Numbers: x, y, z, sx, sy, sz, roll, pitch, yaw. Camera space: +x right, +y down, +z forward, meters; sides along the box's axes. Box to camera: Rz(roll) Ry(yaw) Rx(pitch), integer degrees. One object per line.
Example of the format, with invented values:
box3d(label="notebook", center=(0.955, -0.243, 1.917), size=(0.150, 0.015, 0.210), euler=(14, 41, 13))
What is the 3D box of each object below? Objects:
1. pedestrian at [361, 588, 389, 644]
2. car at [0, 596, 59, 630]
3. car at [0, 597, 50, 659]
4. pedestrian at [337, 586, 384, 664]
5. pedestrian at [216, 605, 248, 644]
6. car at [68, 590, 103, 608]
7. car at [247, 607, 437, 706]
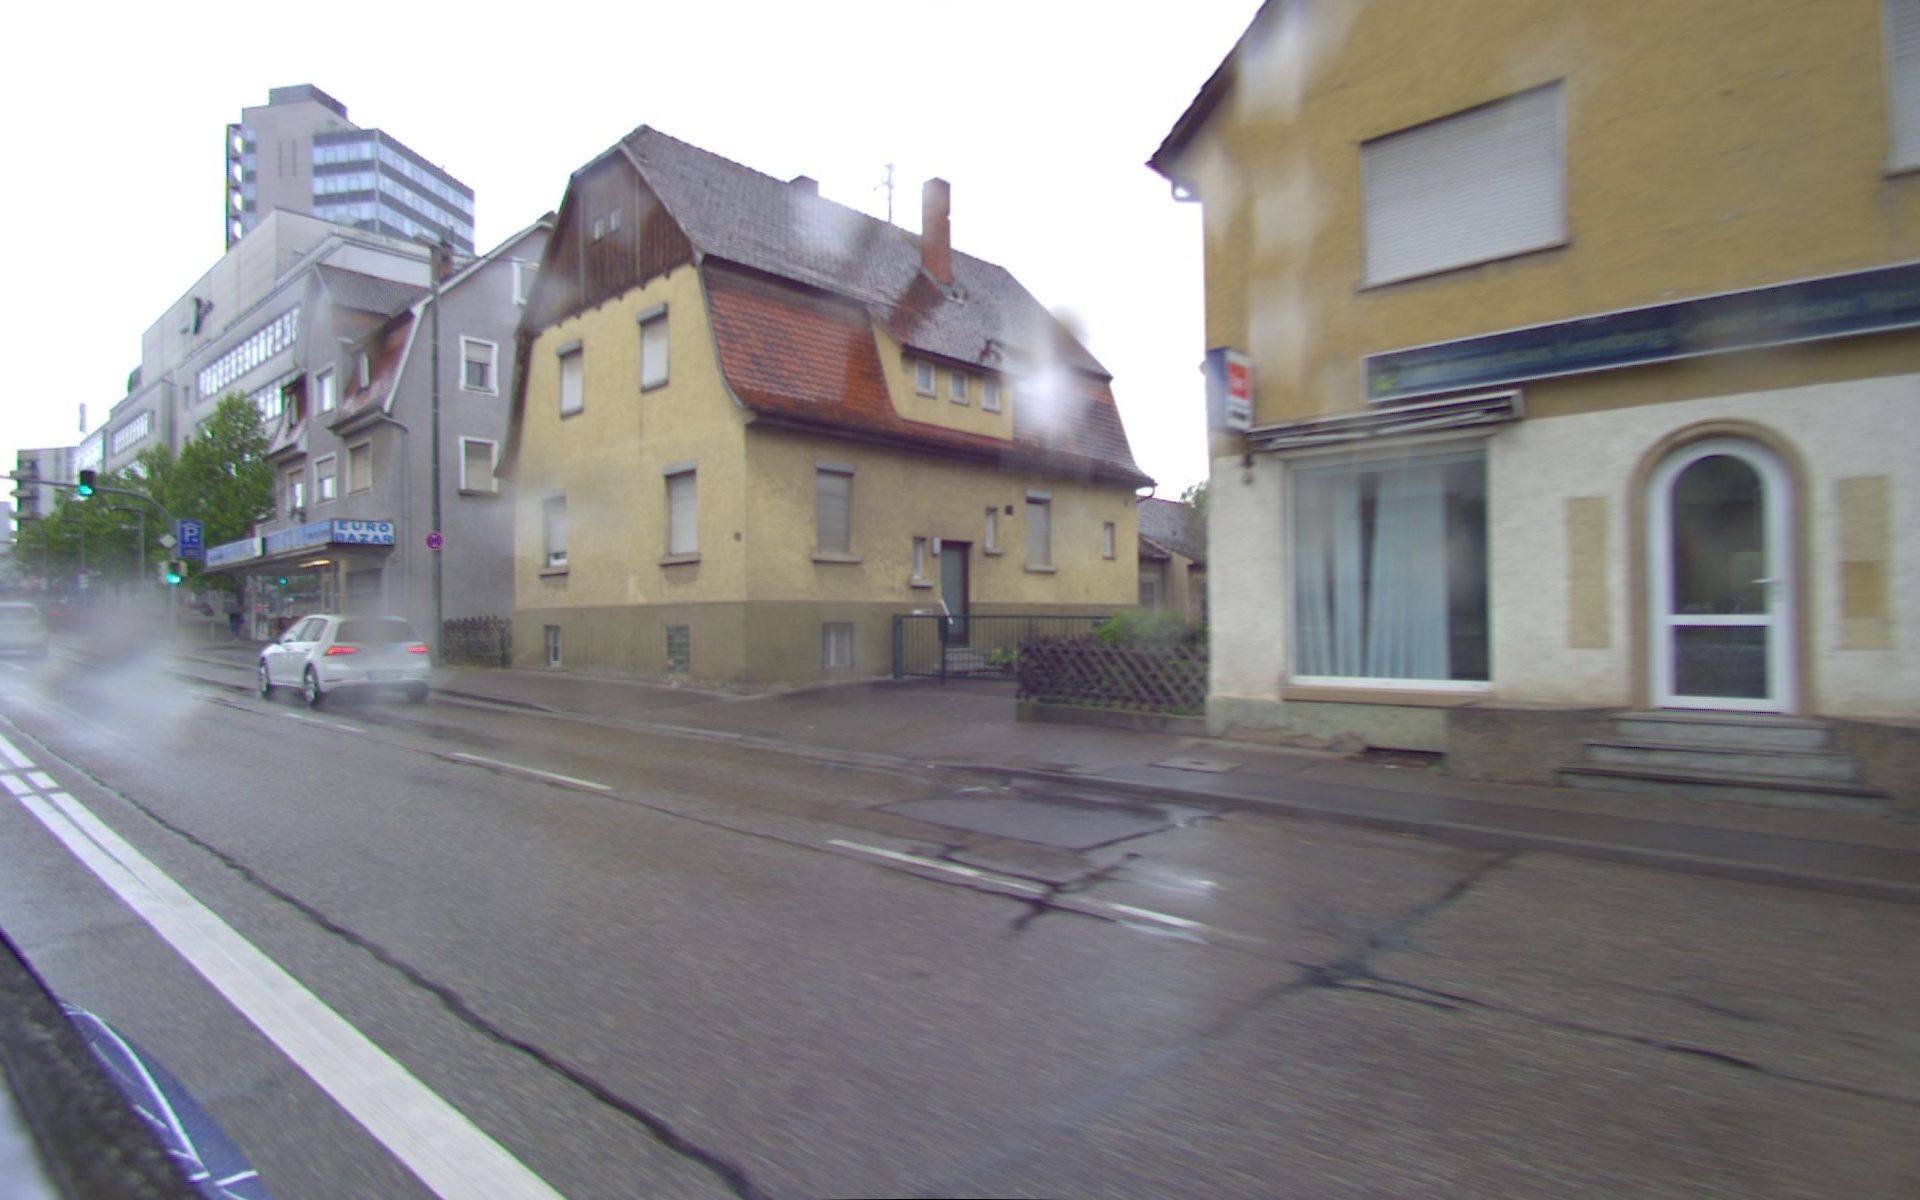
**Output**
box3d(label="pedestrian", center=(-16.447, 0.454, 28.467), size=(0.446, 1.569, 0.537), euler=(0, -1, 42))
box3d(label="car", center=(-47.281, 0.645, 51.377), size=(4.950, 1.630, 1.978), euler=(1, -1, 45))
box3d(label="car", center=(-27.570, 0.748, 28.833), size=(4.716, 1.621, 1.859), euler=(1, 0, 41))
box3d(label="pedestrian", center=(-15.223, 0.625, 25.694), size=(0.944, 1.935, 0.656), euler=(0, 1, 33))
box3d(label="pedestrian", center=(-34.497, 1.148, 47.961), size=(1.233, 1.802, 0.916), euler=(1, -1, 40))
box3d(label="car", center=(-73.439, -0.119, 84.992), size=(3.729, 1.421, 1.734), euler=(1, -1, 42))
box3d(label="car", center=(-10.677, 0.916, 17.367), size=(4.138, 1.428, 1.631), euler=(1, -3, 42))
